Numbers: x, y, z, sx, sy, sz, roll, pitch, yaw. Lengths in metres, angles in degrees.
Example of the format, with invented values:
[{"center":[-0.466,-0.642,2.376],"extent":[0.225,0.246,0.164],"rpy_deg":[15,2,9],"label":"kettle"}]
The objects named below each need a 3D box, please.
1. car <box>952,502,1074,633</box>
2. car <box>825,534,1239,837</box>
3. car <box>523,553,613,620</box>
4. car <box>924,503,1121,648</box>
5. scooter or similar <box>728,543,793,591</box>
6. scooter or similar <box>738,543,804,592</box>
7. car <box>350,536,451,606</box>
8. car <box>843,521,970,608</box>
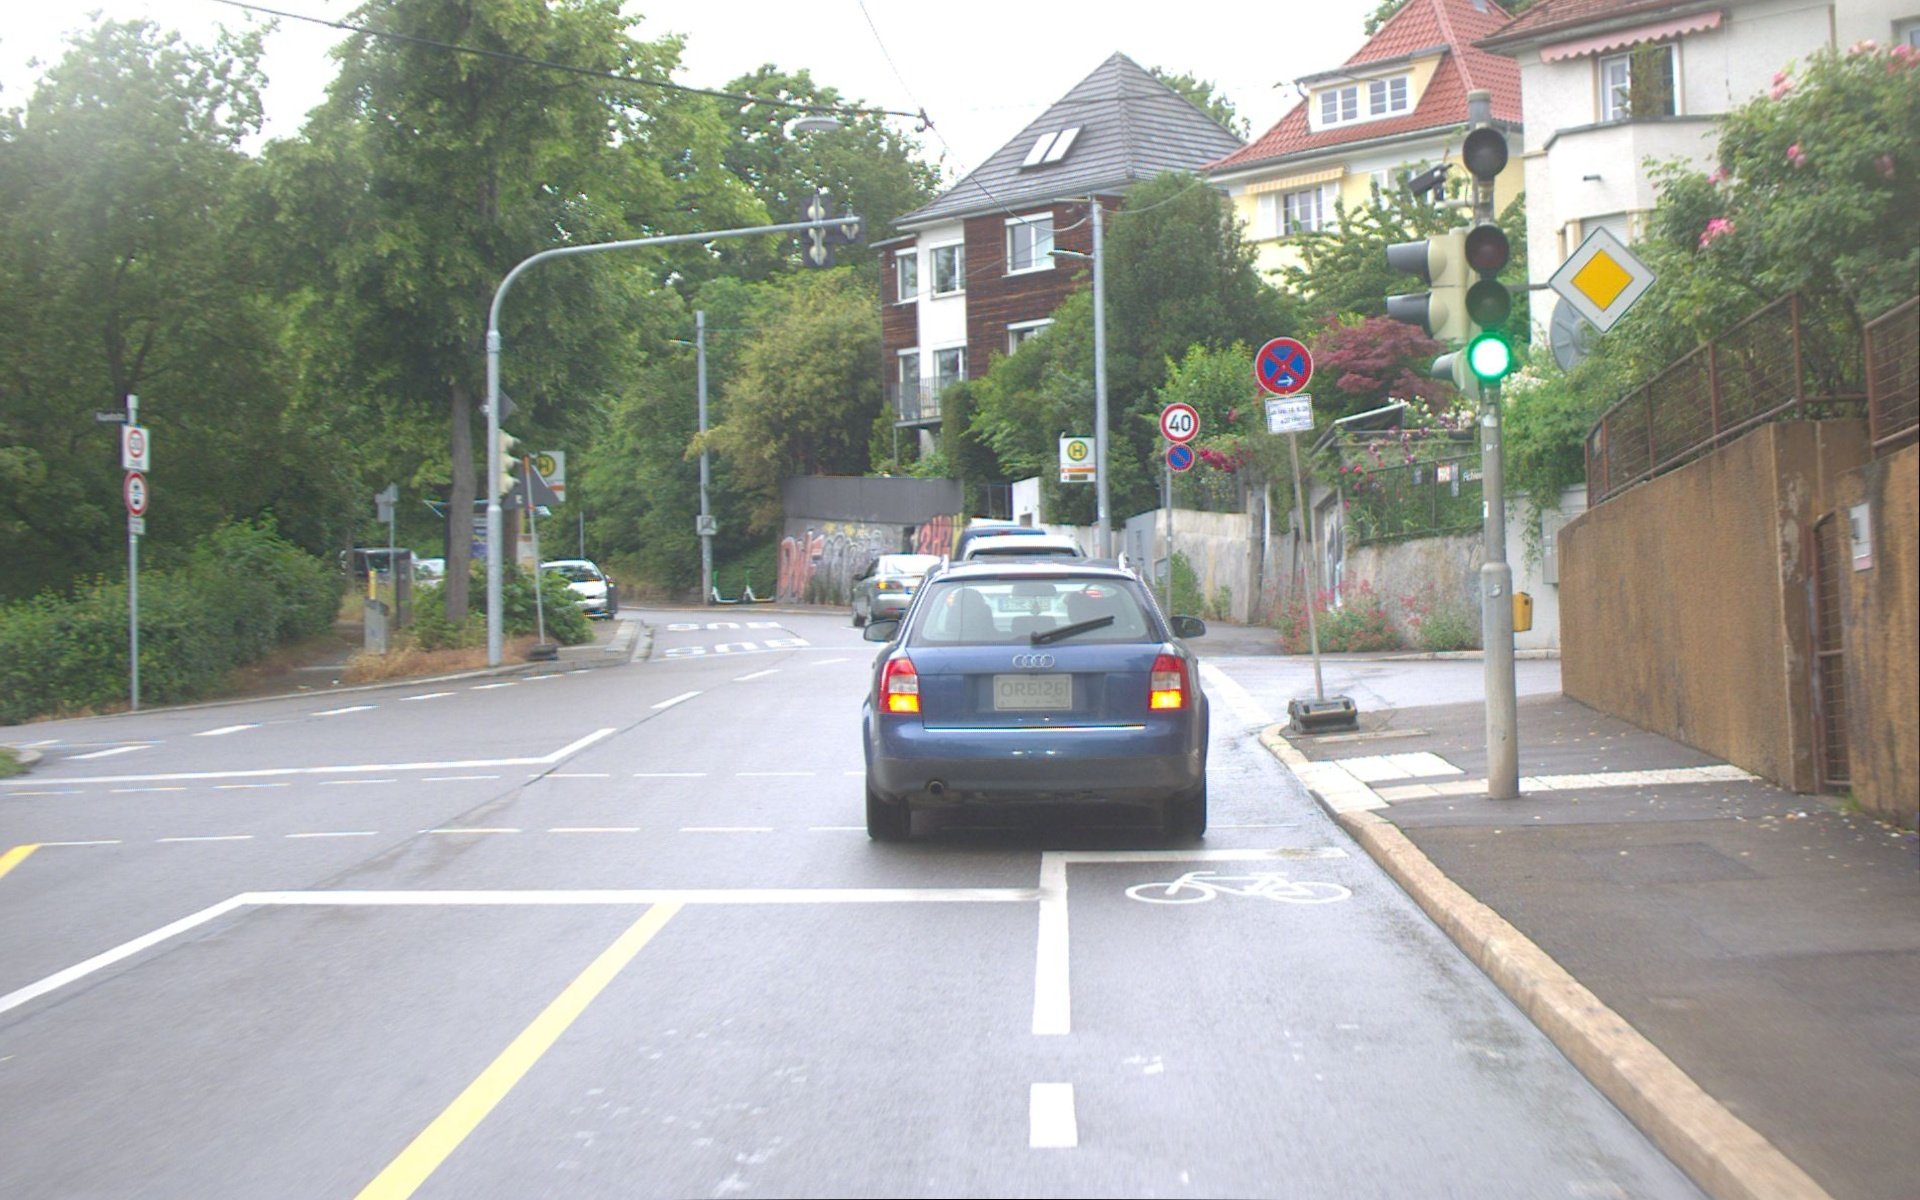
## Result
[{"center":[0.786,-0.524,53.154],"extent":[1.730,1.888,4.055],"rpy_deg":[-2,1,0],"label":"car"},{"center":[0.502,0.386,18.482],"extent":[1.778,1.434,3.999],"rpy_deg":[-1,1,8],"label":"car"},{"center":[-8.901,-0.317,77.797],"extent":[1.673,1.422,4.001],"rpy_deg":[-2,1,-11],"label":"car"},{"center":[0.660,-0.235,36.222],"extent":[1.909,1.384,4.350],"rpy_deg":[2,0,1],"label":"car"},{"center":[-6.027,-0.984,103.981],"extent":[1.833,1.310,0.600],"rpy_deg":[4,-3,-10],"label":"scooter or similar"},{"center":[-5.656,-0.968,102.867],"extent":[1.833,1.310,0.600],"rpy_deg":[4,-3,-10],"label":"scooter or similar"},{"center":[-15.568,-0.792,95.455],"extent":[1.836,1.837,3.903],"rpy_deg":[-2,1,-23],"label":"car"},{"center":[-1.063,-0.691,66.677],"extent":[1.765,1.564,4.031],"rpy_deg":[-2,1,-10],"label":"car"}]
